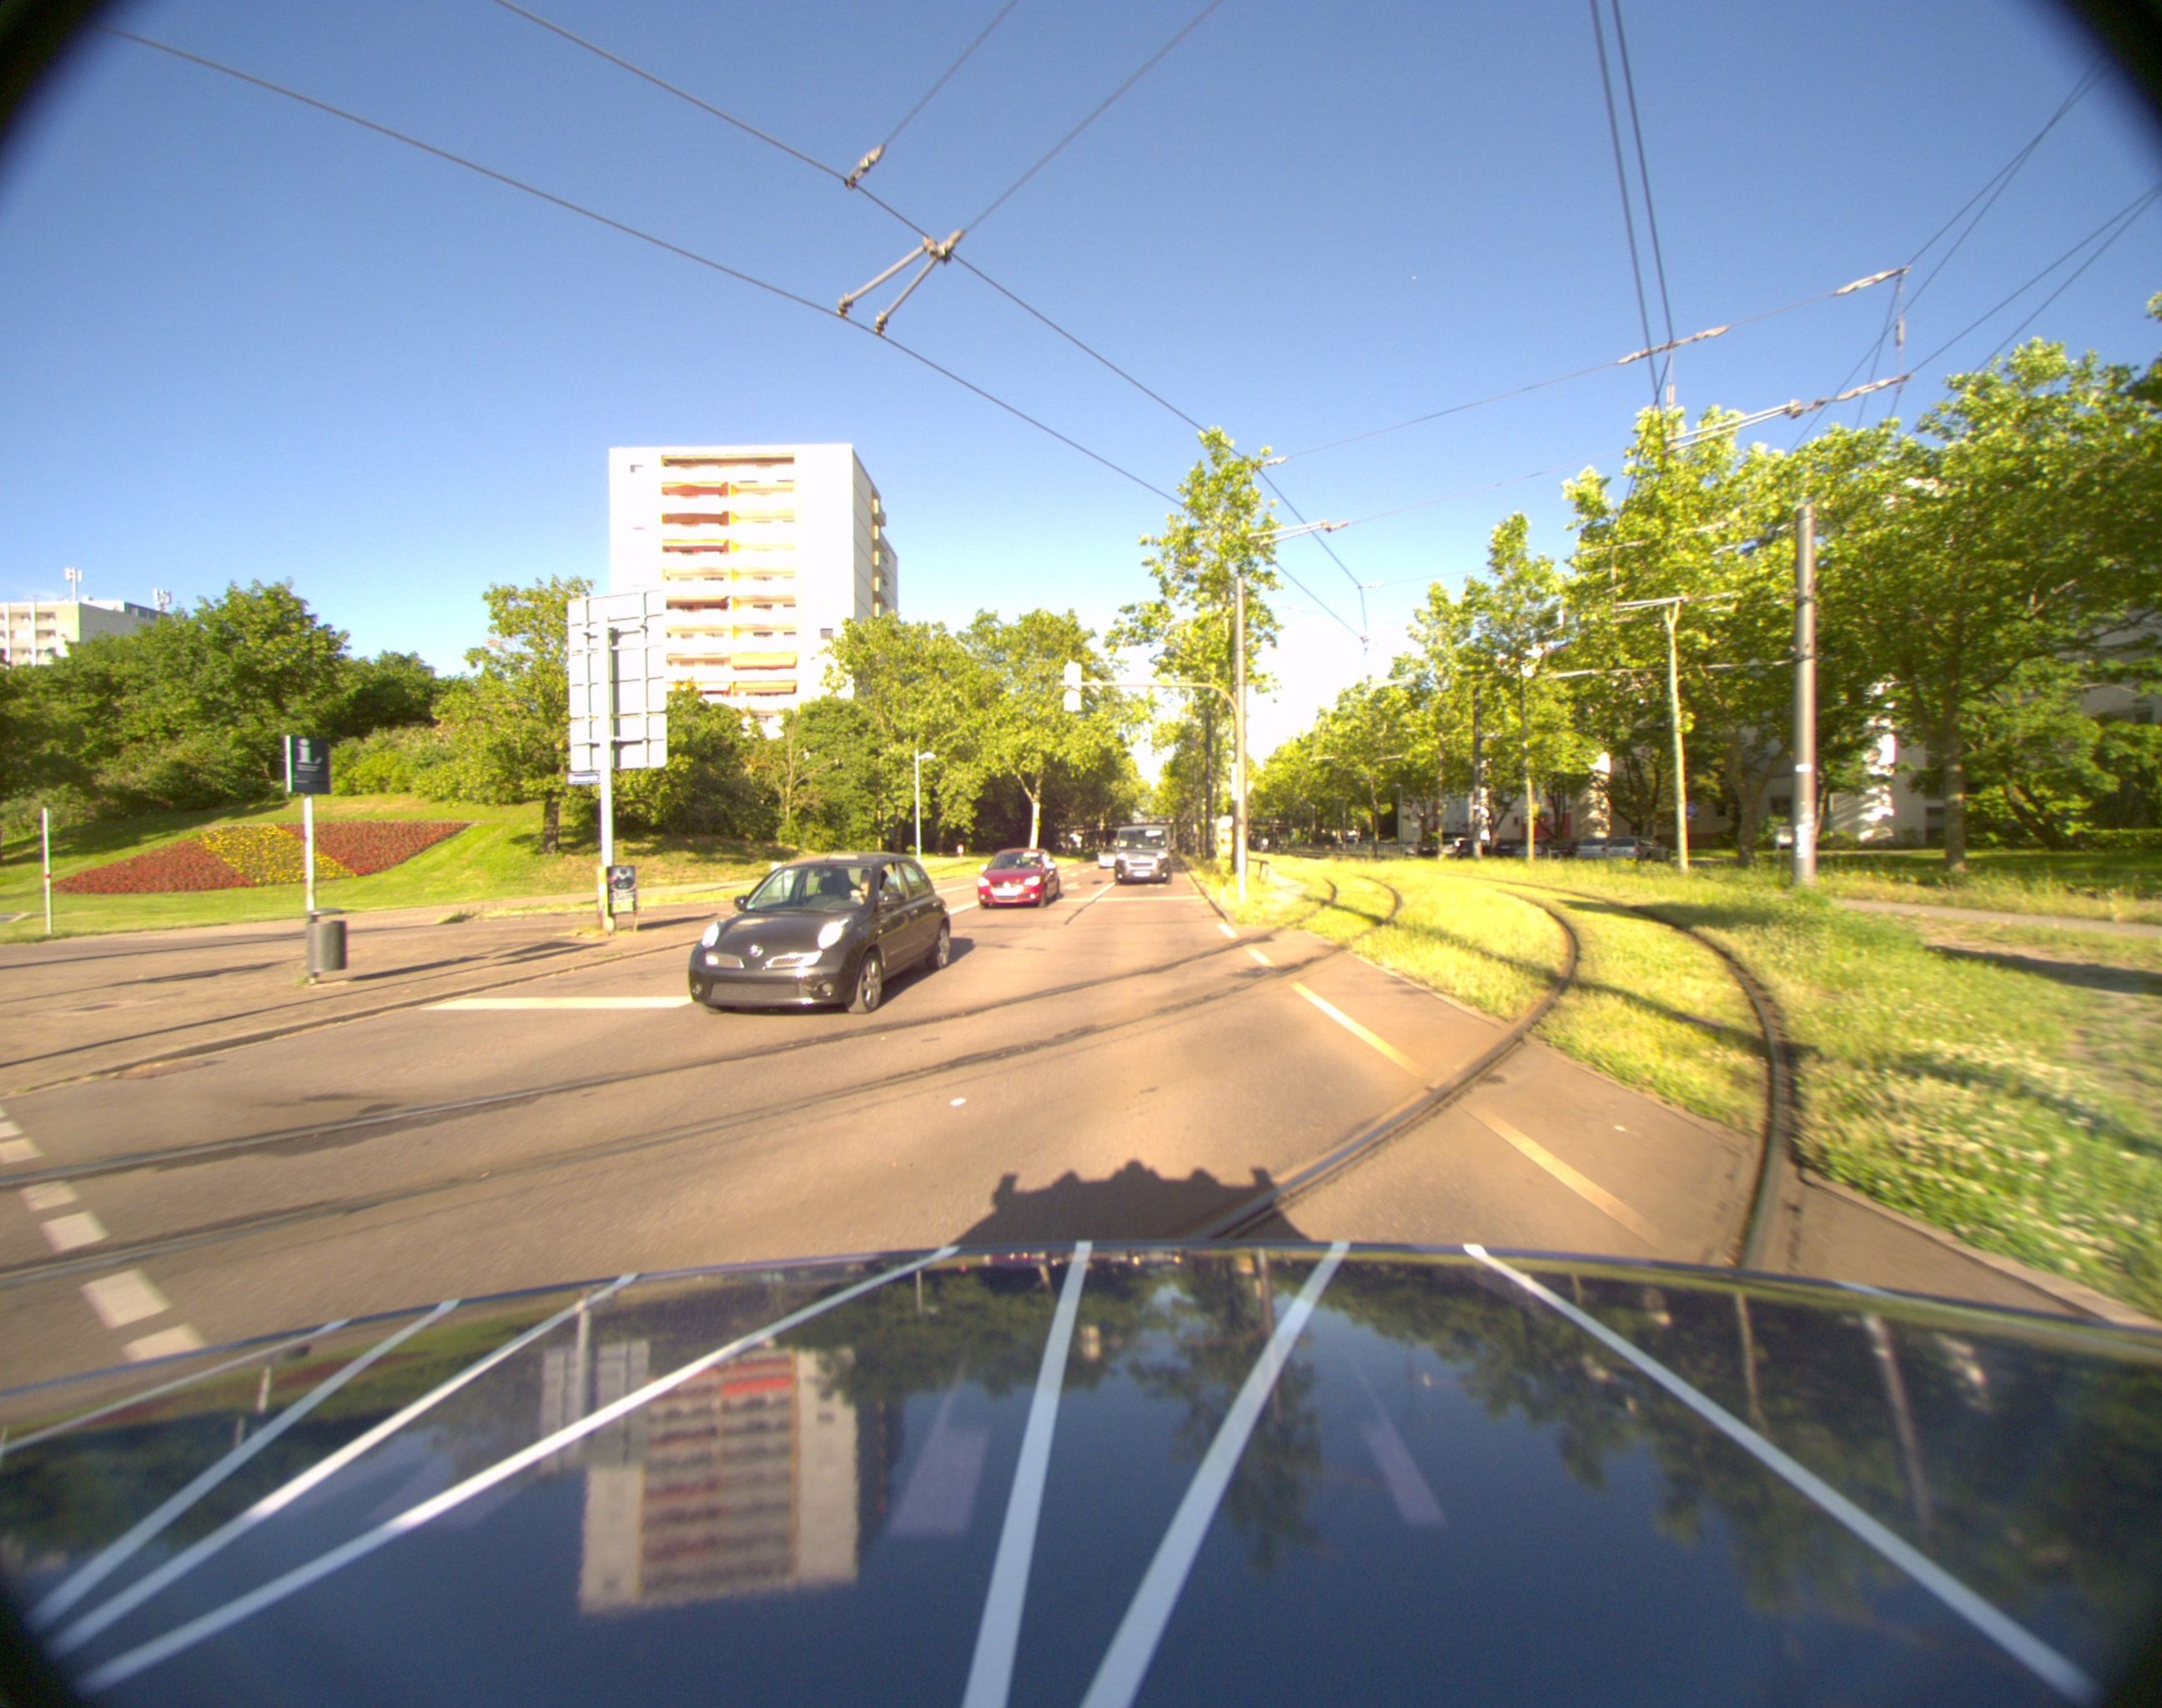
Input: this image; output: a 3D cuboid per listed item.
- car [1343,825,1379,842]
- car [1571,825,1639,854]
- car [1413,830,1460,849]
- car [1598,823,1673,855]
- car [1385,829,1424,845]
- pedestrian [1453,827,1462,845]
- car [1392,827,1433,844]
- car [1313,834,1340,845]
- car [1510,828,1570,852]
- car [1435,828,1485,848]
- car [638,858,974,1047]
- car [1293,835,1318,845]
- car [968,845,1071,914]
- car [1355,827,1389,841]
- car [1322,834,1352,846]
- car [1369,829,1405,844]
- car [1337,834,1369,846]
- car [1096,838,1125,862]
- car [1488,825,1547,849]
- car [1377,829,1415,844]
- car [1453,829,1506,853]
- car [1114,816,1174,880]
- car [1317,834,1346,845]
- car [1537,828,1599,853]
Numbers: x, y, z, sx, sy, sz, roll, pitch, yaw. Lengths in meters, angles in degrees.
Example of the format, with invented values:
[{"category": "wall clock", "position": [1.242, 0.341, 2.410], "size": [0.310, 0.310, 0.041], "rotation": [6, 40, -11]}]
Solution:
[{"category": "car", "position": [33.897, -2.488, 91.984], "size": [4.440, 1.908, 2.016], "rotation": [-2, 1, -37]}, {"category": "car", "position": [28.804, -0.788, 41.752], "size": [4.056, 1.478, 1.760], "rotation": [-2, 1, -35]}, {"category": "car", "position": [30.694, -1.279, 65.607], "size": [4.056, 1.490, 1.791], "rotation": [-2, 1, -34]}, {"category": "car", "position": [27.837, -0.745, 38.120], "size": [4.056, 1.478, 1.810], "rotation": [-2, 1, -35]}, {"category": "car", "position": [32.729, -1.715, 76.731], "size": [4.056, 1.490, 1.791], "rotation": [-2, 1, -37]}, {"category": "pedestrian", "position": [42.089, -2.031, 84.996], "size": [0.680, 2.002, 0.645], "rotation": [-1, 2, 3]}, {"category": "car", "position": [31.884, -1.797, 72.970], "size": [4.056, 1.490, 1.791], "rotation": [-2, 1, -37]}, {"category": "car", "position": [36.835, -2.170, 114.074], "size": [4.056, 1.490, 1.791], "rotation": [-2, 1, -37]}, {"category": "car", "position": [29.067, -0.912, 48.101], "size": [4.056, 1.380, 1.791], "rotation": [-2, 1, -35]}, {"category": "car", "position": [30.845, -1.294, 61.784], "size": [4.056, 1.490, 1.791], "rotation": [-2, 1, -34]}, {"category": "car", "position": [-2.652, 0.850, 8.693], "size": [1.738, 1.474, 4.623], "rotation": [-1, 1, 6]}, {"category": "car", "position": [36.876, -2.307, 124.593], "size": [4.056, 1.490, 1.791], "rotation": [-2, 1, -37]}, {"category": "car", "position": [-1.471, 0.577, 20.029], "size": [1.771, 1.549, 4.728], "rotation": [-1, 1, 7]}, {"category": "car", "position": [34.086, -2.330, 89.079], "size": [4.056, 1.490, 1.791], "rotation": [-2, 1, -37]}, {"category": "car", "position": [35.111, -1.960, 104.229], "size": [4.056, 1.490, 1.791], "rotation": [-2, 1, -37]}, {"category": "car", "position": [33.273, -1.931, 82.653], "size": [4.056, 1.490, 1.791], "rotation": [-2, 1, -37]}, {"category": "car", "position": [34.125, -1.761, 95.342], "size": [4.056, 1.490, 1.791], "rotation": [-2, 1, -37]}, {"category": "car", "position": [2.039, -0.285, 52.173], "size": [1.913, 1.549, 4.726], "rotation": [-1, 1, 3]}, {"category": "car", "position": [29.439, -1.138, 51.255], "size": [4.056, 1.490, 1.791], "rotation": [-2, 1, -34]}, {"category": "car", "position": [33.130, -1.877, 79.904], "size": [4.056, 1.490, 1.791], "rotation": [-2, 1, -37]}, {"category": "car", "position": [30.592, -1.013, 58.293], "size": [4.056, 1.654, 1.791], "rotation": [-2, 1, -34]}, {"category": "car", "position": [2.466, -0.284, 29.372], "size": [2.039, 2.192, 5.662], "rotation": [-1, 1, 5]}, {"category": "car", "position": [35.464, -2.021, 107.589], "size": [4.056, 1.490, 1.791], "rotation": [-2, 1, -37]}, {"category": "car", "position": [28.665, -0.810, 44.702], "size": [4.056, 1.380, 1.673], "rotation": [-2, 1, -35]}]
